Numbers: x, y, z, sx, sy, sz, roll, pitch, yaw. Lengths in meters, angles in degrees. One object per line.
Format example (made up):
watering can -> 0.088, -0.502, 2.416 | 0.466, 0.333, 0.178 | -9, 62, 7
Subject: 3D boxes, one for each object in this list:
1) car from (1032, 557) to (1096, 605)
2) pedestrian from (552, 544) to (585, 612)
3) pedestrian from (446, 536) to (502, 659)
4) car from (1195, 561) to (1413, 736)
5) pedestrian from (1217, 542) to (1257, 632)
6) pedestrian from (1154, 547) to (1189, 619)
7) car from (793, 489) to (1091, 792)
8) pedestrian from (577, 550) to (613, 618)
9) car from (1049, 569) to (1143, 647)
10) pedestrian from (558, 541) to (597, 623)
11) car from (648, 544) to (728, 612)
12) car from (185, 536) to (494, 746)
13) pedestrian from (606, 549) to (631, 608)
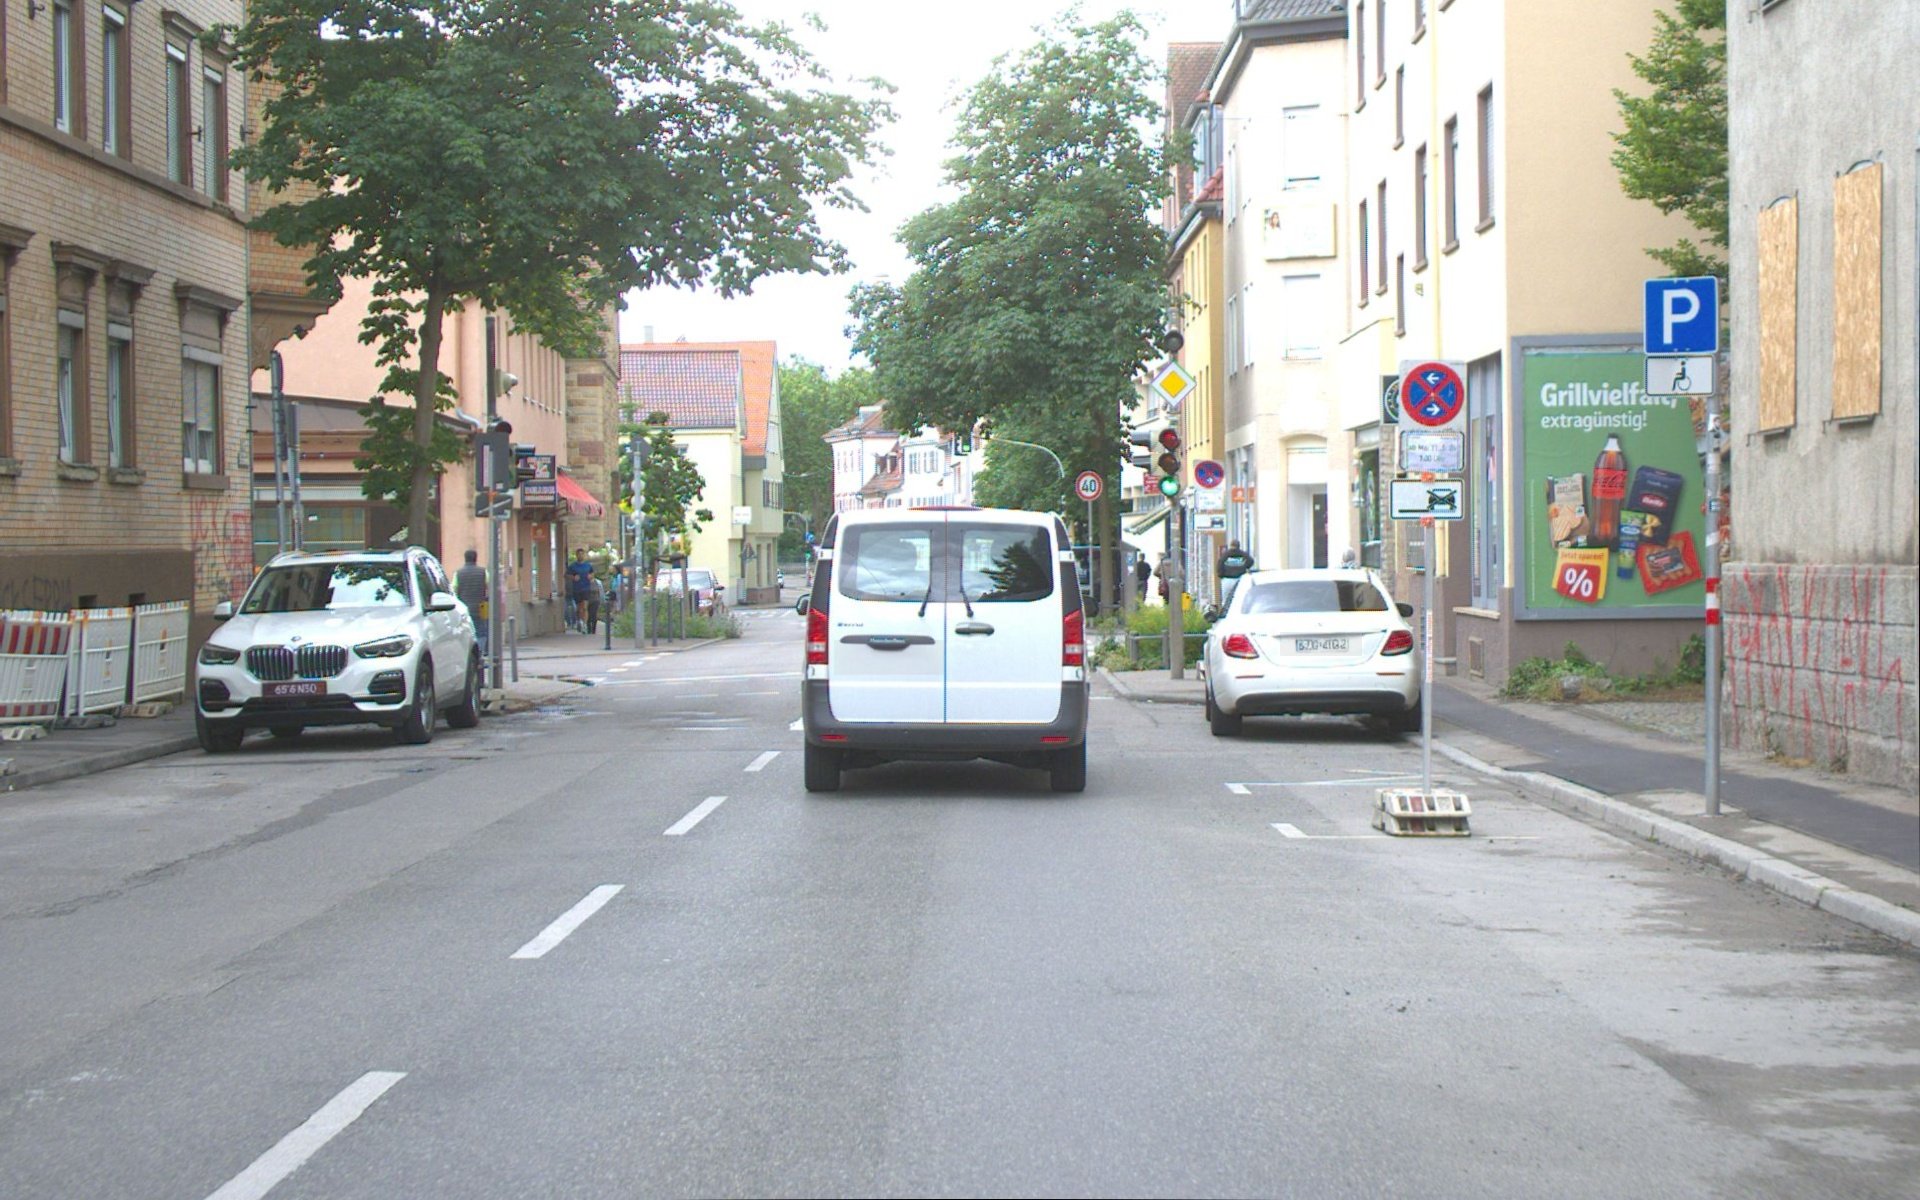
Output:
car -> 2.942, -0.541, 97.747 | 1.551, 1.328, 3.813 | 0, 0, -2
pedestrian -> -9.550, -0.542, 83.892 | 0.730, 1.623, 0.759 | -1, 1, -10
pedestrian -> -6.940, -0.046, 49.124 | 0.738, 1.748, 0.983 | 0, 1, -5
car -> 3.092, 0.389, 31.677 | 1.767, 1.461, 4.783 | 0, 1, 3
pedestrian -> 5.095, -0.244, 63.238 | 0.614, 1.647, 0.983 | 0, 1, -2
pedestrian -> 4.938, -0.401, 80.220 | 0.701, 1.643, 0.889 | -2, 1, -2
car -> -0.125, 0.233, 23.792 | 1.872, 1.905, 4.000 | -1, 1, 0
pedestrian -> -8.323, -0.373, 78.436 | 0.738, 1.529, 0.983 | 0, 1, -2
car -> 3.153, 0.170, 80.461 | 1.819, 1.775, 4.403 | 0, 0, -3
pedestrian -> -8.046, -0.385, 72.291 | 0.738, 1.712, 1.157 | 0, 1, -3
car -> -6.755, -0.574, 85.829 | 1.702, 1.568, 4.451 | -3, 1, -2
car -> -5.611, 0.313, 31.694 | 1.891, 1.706, 4.741 | -2, 1, 0
pedestrian -> -9.069, -0.561, 91.211 | 0.571, 1.549, 0.697 | 1, 0, -1
